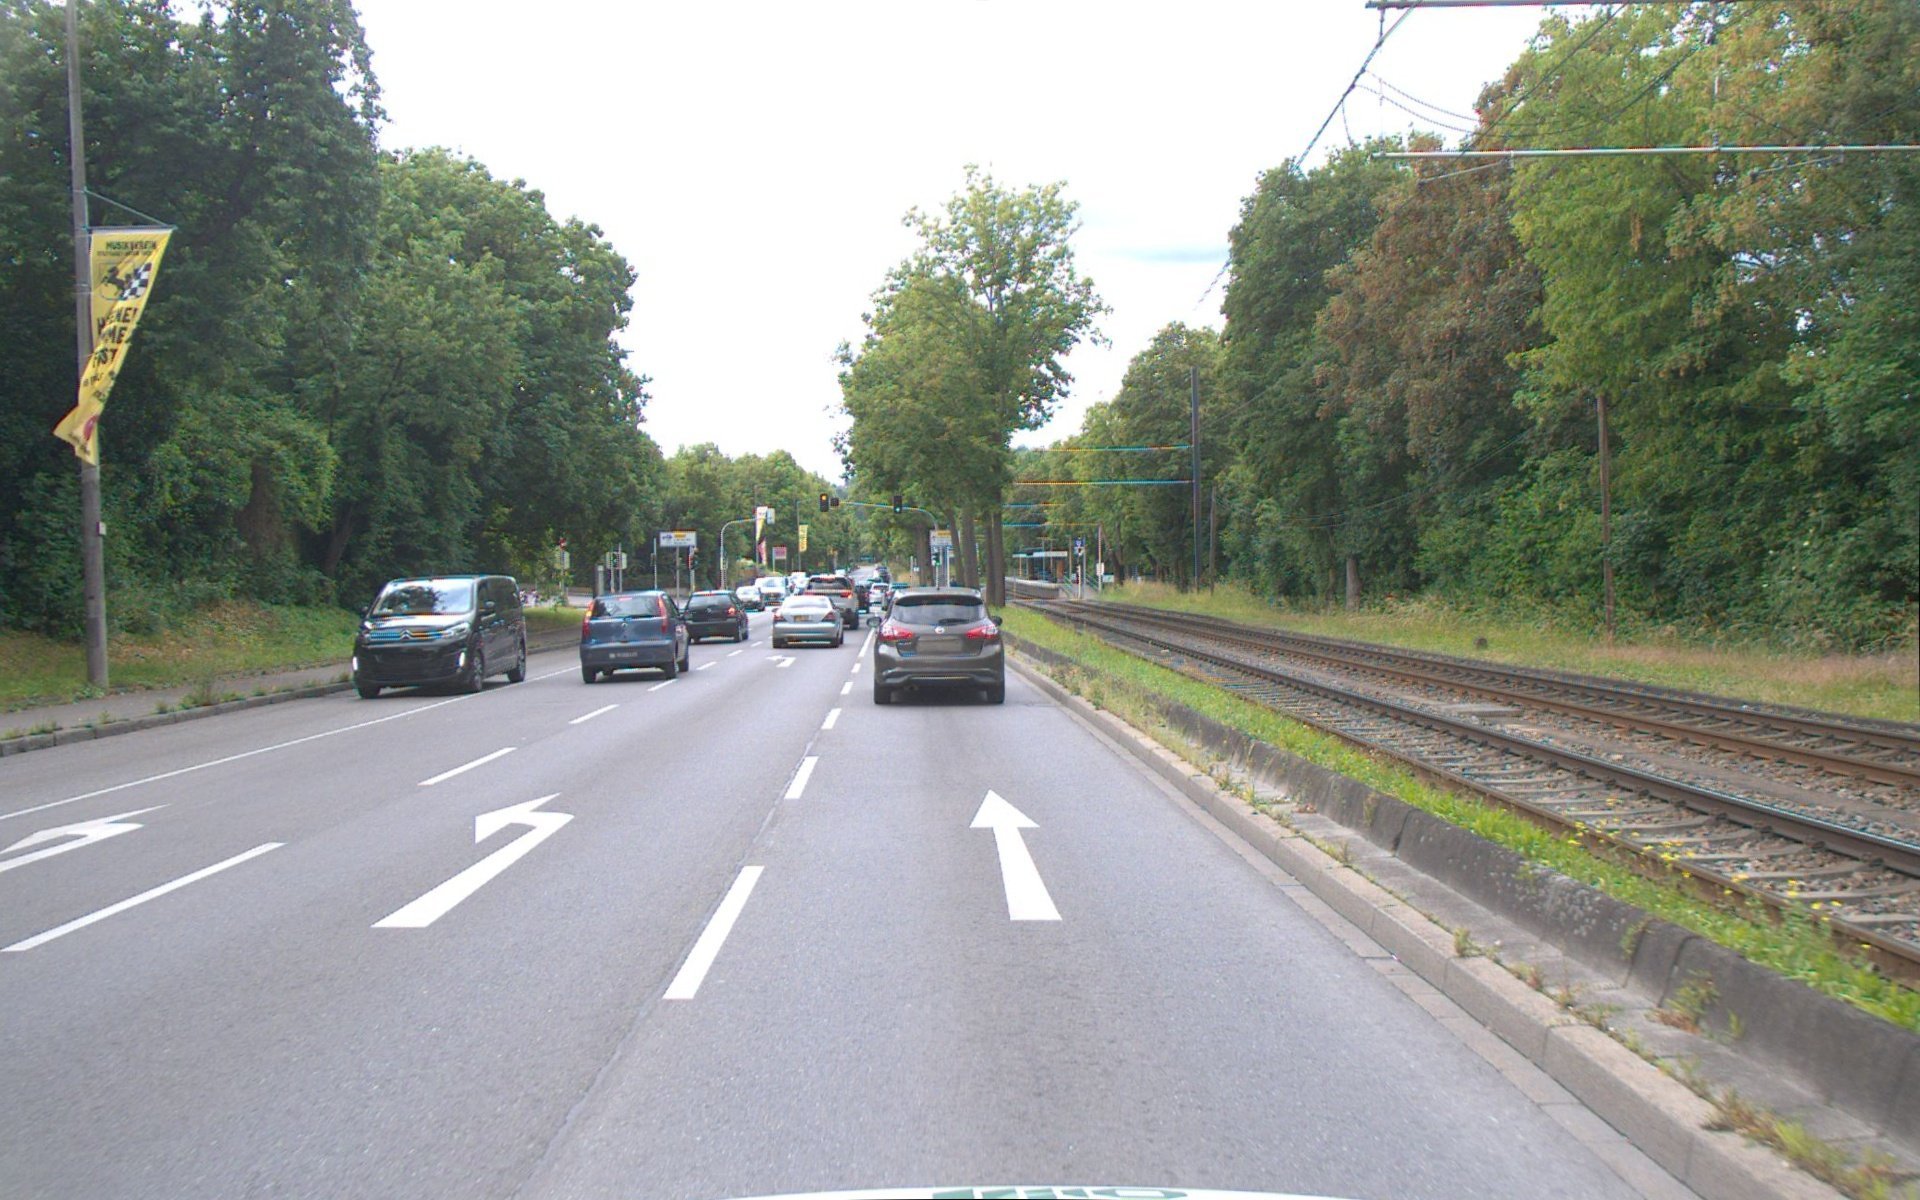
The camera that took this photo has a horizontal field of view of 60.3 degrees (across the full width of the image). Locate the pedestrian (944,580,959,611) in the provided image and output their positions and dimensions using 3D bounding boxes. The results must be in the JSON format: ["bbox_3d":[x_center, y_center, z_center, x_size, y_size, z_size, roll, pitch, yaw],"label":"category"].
[{"bbox_3d":[-0.491,-0.252,95.856,0.736,1.767,0.840,-3,0,2],"label":"pedestrian"}]

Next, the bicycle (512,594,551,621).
[{"bbox_3d":[-20.835,0.377,80.394,0.534,1.274,1.929,1,0,35],"label":"bicycle"}]

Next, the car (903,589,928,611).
[{"bbox_3d":[-3.212,-0.023,117.806,1.474,1.555,3.666,0,0,-6],"label":"car"}]

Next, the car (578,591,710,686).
[{"bbox_3d":[-5.492,0.627,29.170,1.559,1.493,3.928,-2,0,-1],"label":"car"}]

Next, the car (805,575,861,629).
[{"bbox_3d":[-4.441,0.066,58.141,1.767,1.826,4.501,0,0,-2],"label":"car"}]

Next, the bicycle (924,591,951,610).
[{"bbox_3d":[-1.418,0.015,104.055,1.642,1.109,0.601,-4,0,-7],"label":"bicycle"}]

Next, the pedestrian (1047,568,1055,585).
[{"bbox_3d":[8.070,-2.075,146.946,0.703,1.538,0.724,1,0,0],"label":"pedestrian"}]

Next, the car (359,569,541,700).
[{"bbox_3d":[-8.471,0.524,27.888,1.767,1.937,4.686,-2,0,-3],"label":"car"}]

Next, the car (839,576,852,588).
[{"bbox_3d":[-17.056,-2.657,246.752,1.864,1.708,5.076,-1,0,-5],"label":"car"}]

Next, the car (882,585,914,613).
[{"bbox_3d":[-3.357,-0.060,90.056,1.675,1.501,3.671,0,0,-1],"label":"car"}]

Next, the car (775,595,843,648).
[{"bbox_3d":[-3.832,0.532,42.501,1.524,1.289,3.821,0,0,-2],"label":"car"}]

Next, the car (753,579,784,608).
[{"bbox_3d":[-13.004,-0.437,112.231,1.756,1.863,4.407,-2,0,-3],"label":"car"}]

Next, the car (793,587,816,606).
[{"bbox_3d":[-13.119,-0.337,139.387,1.704,1.565,3.908,0,0,-3],"label":"car"}]

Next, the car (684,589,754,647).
[{"bbox_3d":[-6.825,0.480,47.094,1.525,1.492,3.806,-3,1,-2],"label":"car"}]

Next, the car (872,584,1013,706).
[{"bbox_3d":[-0.244,0.564,23.092,1.800,1.555,3.928,0,0,-1],"label":"car"}]

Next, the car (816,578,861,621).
[{"bbox_3d":[-5.460,-0.047,74.968,1.869,1.875,5.279,-1,0,-2],"label":"car"}]

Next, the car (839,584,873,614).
[{"bbox_3d":[-5.316,-0.069,84.730,1.669,1.506,3.666,-1,0,-2],"label":"car"}]
